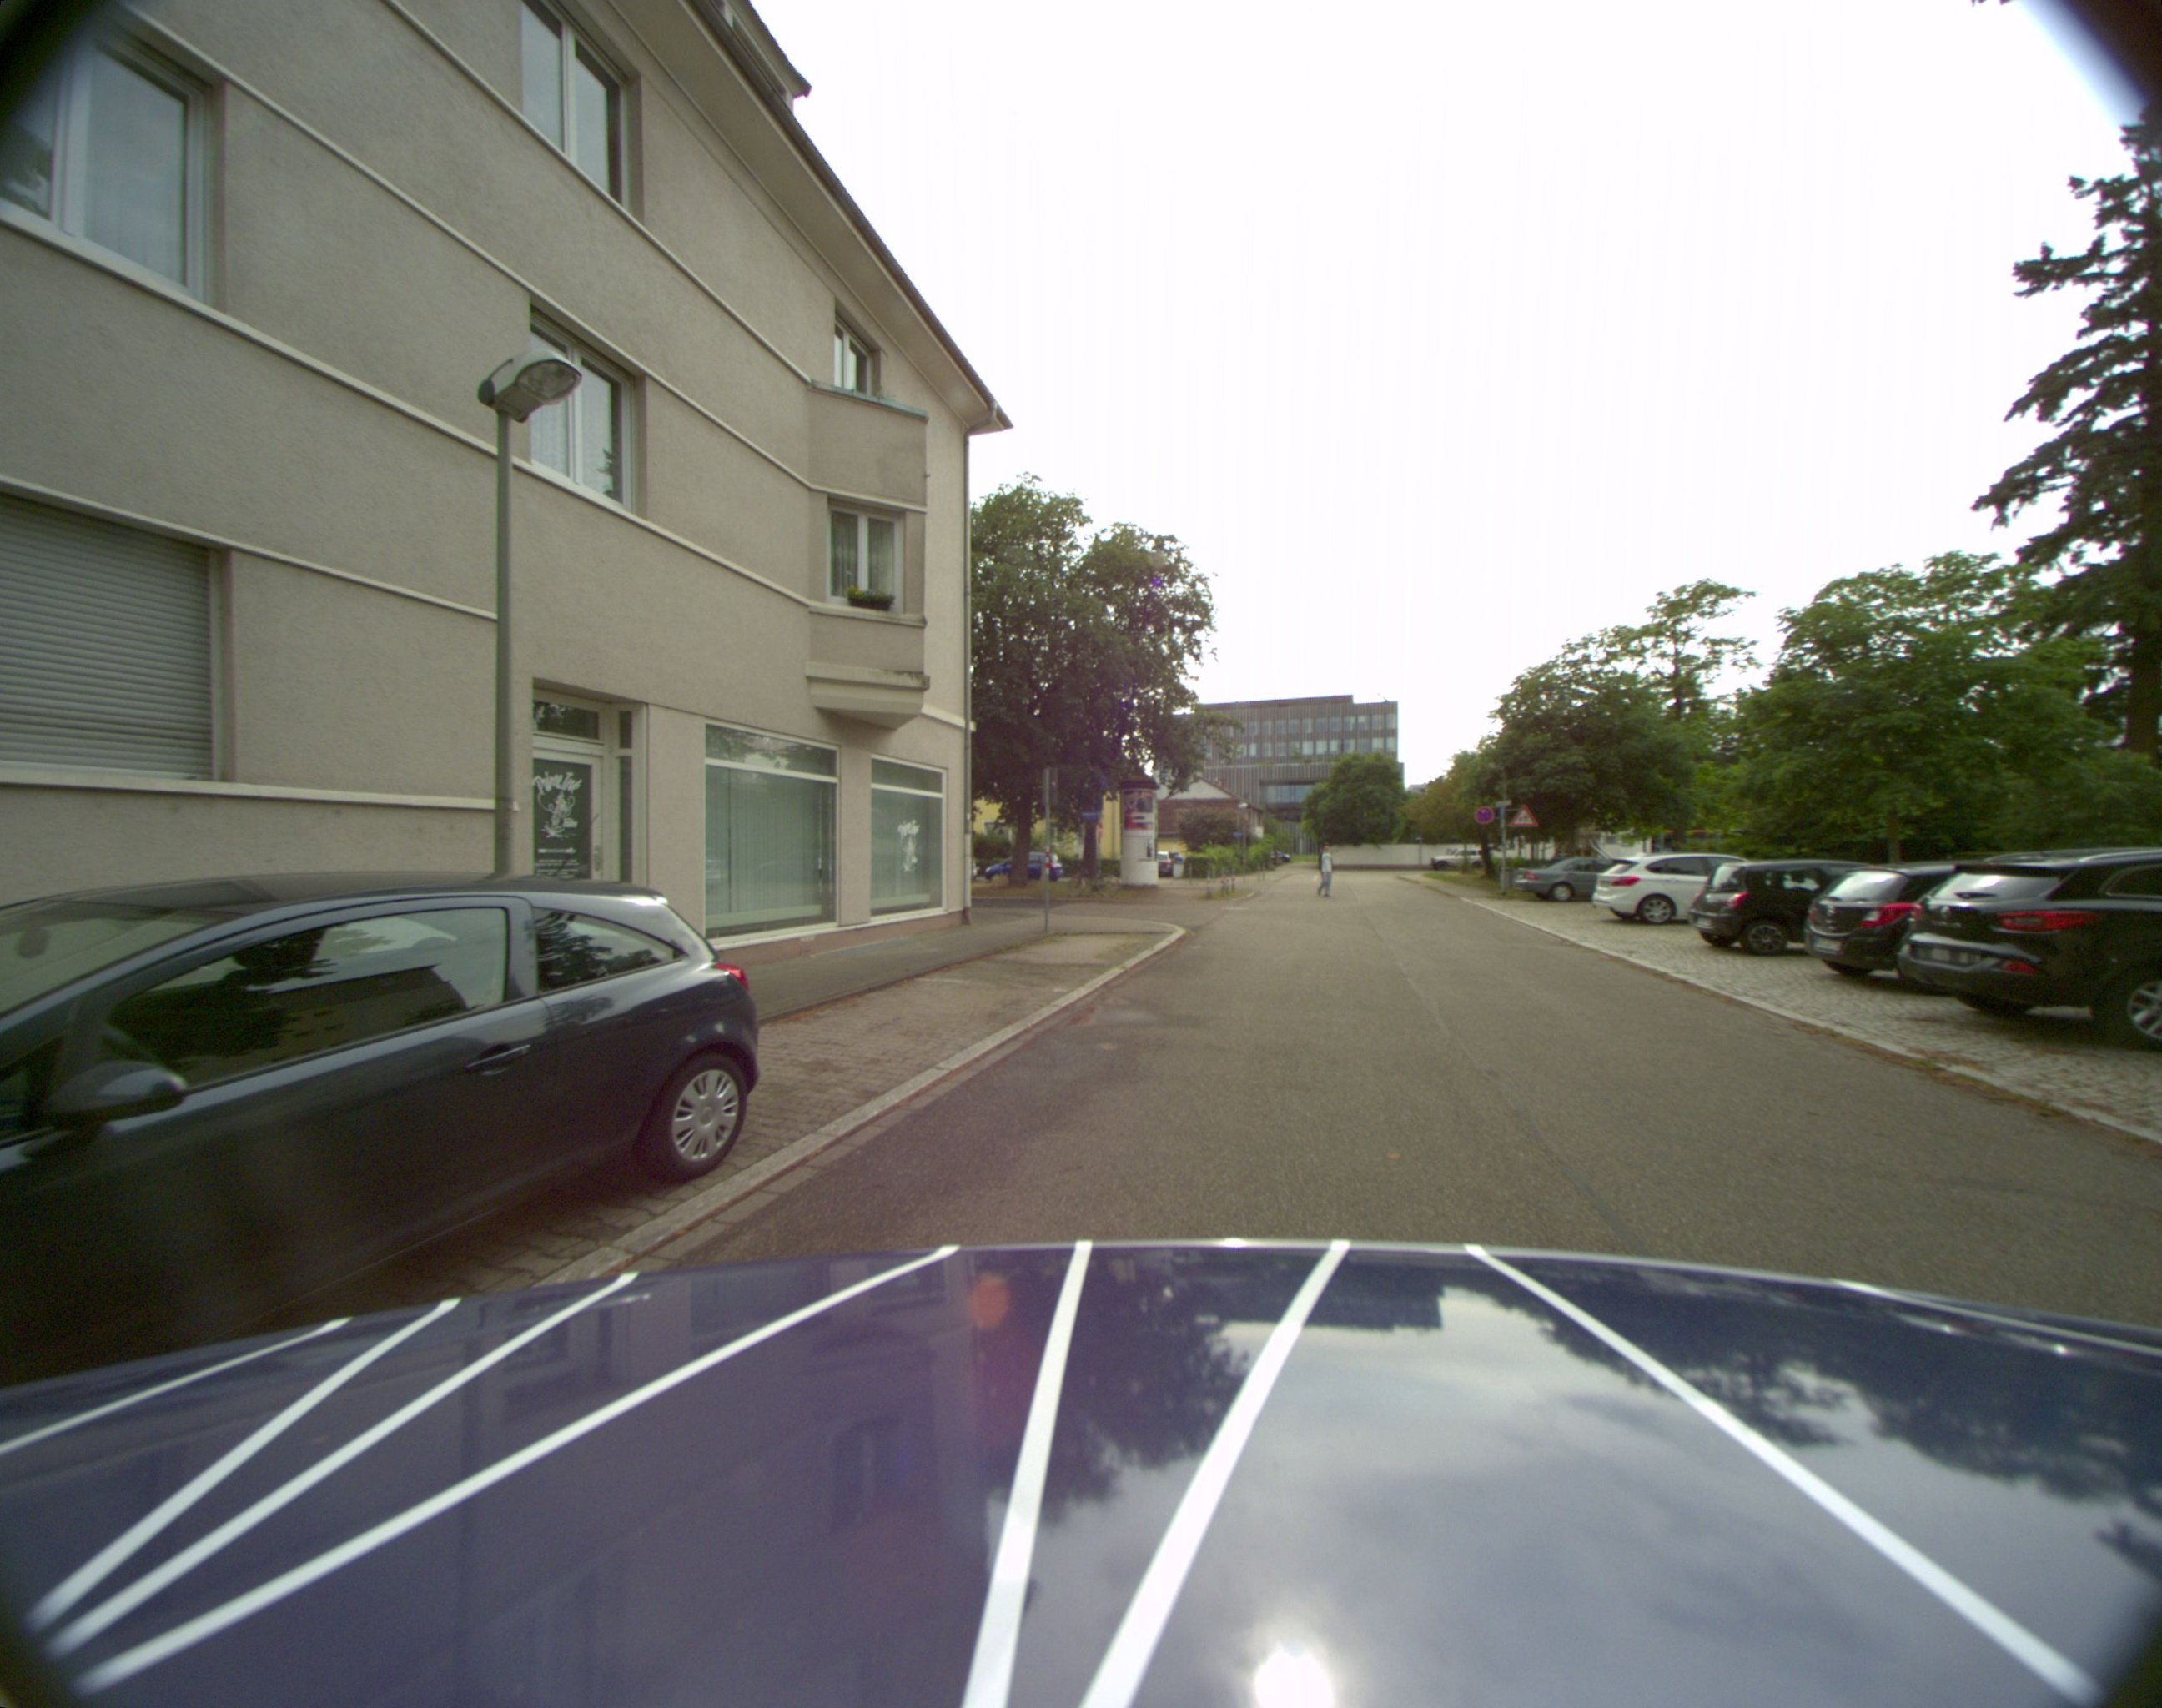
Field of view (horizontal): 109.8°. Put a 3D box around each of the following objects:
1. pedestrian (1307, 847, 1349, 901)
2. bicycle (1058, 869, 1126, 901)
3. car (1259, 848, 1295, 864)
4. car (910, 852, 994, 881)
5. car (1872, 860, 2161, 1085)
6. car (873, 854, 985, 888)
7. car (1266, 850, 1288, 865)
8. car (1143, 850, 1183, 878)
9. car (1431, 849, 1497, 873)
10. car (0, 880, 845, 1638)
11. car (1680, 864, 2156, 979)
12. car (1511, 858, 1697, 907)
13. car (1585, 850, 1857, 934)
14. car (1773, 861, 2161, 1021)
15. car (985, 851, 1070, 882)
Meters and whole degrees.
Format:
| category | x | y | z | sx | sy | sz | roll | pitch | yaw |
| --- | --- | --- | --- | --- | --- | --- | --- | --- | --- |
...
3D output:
| category | x | y | z | sx | sy | sz | roll | pitch | yaw |
| --- | --- | --- | --- | --- | --- | --- | --- | --- | --- |
| pedestrian | 8.566 | 0.689 | 26.365 | 0.879 | 1.825 | 1.218 | 0 | 1 | -13 |
| bicycle | 0.373 | 1.015 | 24.997 | 2.179 | 0.980 | 0.512 | -1 | 3 | 11 |
| car | 23.778 | 0.248 | 92.094 | 3.991 | 1.828 | 2.002 | 0 | 3 | 19 |
| car | -7.089 | 0.673 | 41.887 | 4.159 | 1.492 | 1.720 | 0 | 3 | 13 |
| car | 9.833 | 0.914 | 6.330 | 4.059 | 1.687 | 1.919 | -1 | 1 | 22 |
| car | -7.208 | 0.781 | 36.224 | 4.875 | 1.557 | 1.905 | 0 | 1 | 13 |
| car | 21.099 | 0.393 | 81.798 | 1.996 | 1.390 | 4.004 | 0 | 3 | 19 |
| car | 4.894 | 0.551 | 44.884 | 1.840 | 1.601 | 4.004 | 0 | 0 | 14 |
| car | 31.401 | 0.567 | 62.376 | 4.485 | 1.849 | 2.001 | 0 | 3 | 14 |
| car | -2.853 | 0.937 | 2.841 | 1.759 | 1.481 | 3.942 | 0 | 1 | 19 |
| car | 12.292 | 0.938 | 11.639 | 4.549 | 1.455 | 1.844 | -1 | 1 | 22 |
| car | 16.371 | 0.891 | 24.013 | 4.552 | 1.446 | 1.682 | -1 | 1 | 14 |
| car | 13.871 | 0.823 | 16.794 | 4.140 | 1.552 | 1.886 | -3 | 1 | 18 |
| car | 11.029 | 0.899 | 8.609 | 4.347 | 1.557 | 1.844 | -1 | 1 | 22 |
| car | -2.840 | 0.666 | 40.609 | 4.201 | 1.558 | 1.707 | 0 | 2 | 17 |
